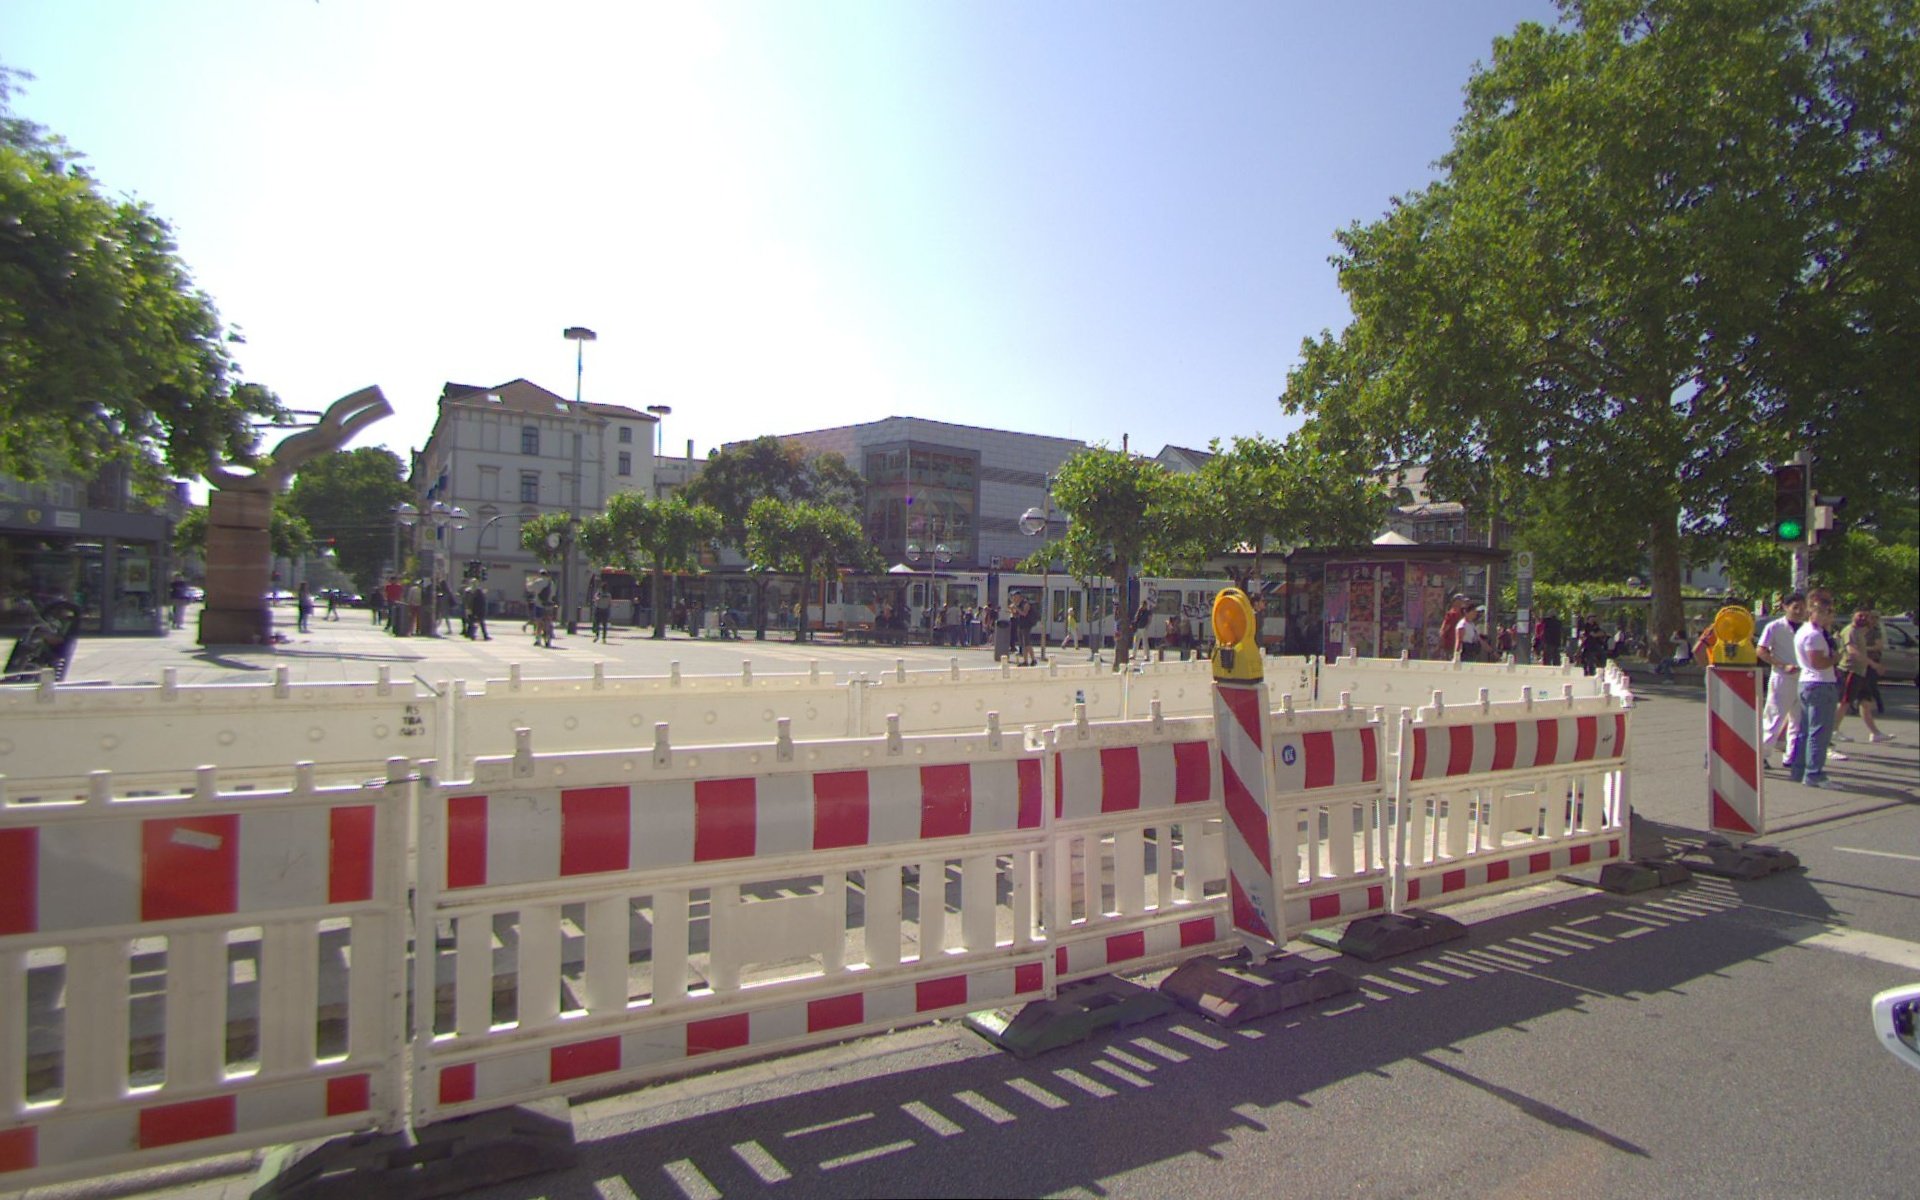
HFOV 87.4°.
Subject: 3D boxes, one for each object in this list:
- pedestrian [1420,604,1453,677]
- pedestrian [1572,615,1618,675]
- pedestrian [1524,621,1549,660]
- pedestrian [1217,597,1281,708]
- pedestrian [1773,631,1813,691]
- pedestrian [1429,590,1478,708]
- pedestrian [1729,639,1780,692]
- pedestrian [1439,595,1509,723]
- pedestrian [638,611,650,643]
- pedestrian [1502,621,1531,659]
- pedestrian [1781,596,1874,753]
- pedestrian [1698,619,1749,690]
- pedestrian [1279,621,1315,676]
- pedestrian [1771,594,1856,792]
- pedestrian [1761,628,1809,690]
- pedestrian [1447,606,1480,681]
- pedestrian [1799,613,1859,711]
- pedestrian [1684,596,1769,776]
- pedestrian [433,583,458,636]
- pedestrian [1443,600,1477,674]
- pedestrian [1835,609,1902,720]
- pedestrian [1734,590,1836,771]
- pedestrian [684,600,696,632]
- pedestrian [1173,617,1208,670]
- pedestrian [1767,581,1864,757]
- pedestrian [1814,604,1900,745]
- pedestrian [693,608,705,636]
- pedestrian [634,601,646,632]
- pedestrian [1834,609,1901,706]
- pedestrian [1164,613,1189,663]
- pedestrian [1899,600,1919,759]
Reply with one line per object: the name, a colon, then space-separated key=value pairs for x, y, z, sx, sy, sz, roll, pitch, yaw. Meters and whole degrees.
pedestrian: x=12.443 y=1.059 z=26.249 sx=0.555 sy=1.883 sz=0.509 roll=2 pitch=0 yaw=-9
pedestrian: x=16.224 y=1.144 z=25.683 sx=0.717 sy=1.498 sz=0.634 roll=2 pitch=0 yaw=-9
pedestrian: x=23.289 y=1.635 z=40.554 sx=0.739 sy=1.534 sz=0.600 roll=1 pitch=0 yaw=-37
pedestrian: x=4.159 y=0.747 z=14.463 sx=0.598 sy=1.553 sz=0.574 roll=2 pitch=1 yaw=-24
pedestrian: x=20.235 y=1.472 z=24.414 sx=0.649 sy=1.404 sz=0.663 roll=2 pitch=0 yaw=32
pedestrian: x=8.233 y=0.800 z=16.764 sx=0.651 sy=1.904 sz=0.631 roll=3 pitch=1 yaw=27
pedestrian: x=18.058 y=1.474 z=22.837 sx=0.653 sy=1.159 sz=0.634 roll=2 pitch=0 yaw=-9
pedestrian: x=7.309 y=0.823 z=14.293 sx=0.598 sy=1.762 sz=0.574 roll=2 pitch=1 yaw=-24
pedestrian: x=-16.997 y=1.462 z=54.058 sx=0.435 sy=1.695 sz=0.450 roll=1 pitch=0 yaw=5
pedestrian: x=23.164 y=1.652 z=41.849 sx=0.724 sy=1.534 sz=0.744 roll=1 pitch=0 yaw=-16
pedestrian: x=10.213 y=0.861 z=11.829 sx=0.645 sy=1.770 sz=0.573 roll=2 pitch=1 yaw=-28
pedestrian: x=17.343 y=1.230 z=22.822 sx=0.653 sy=1.586 sz=0.634 roll=2 pitch=0 yaw=-9
pedestrian: x=8.053 y=1.147 z=23.993 sx=0.599 sy=1.279 sz=0.612 roll=1 pitch=0 yaw=-4
pedestrian: x=7.976 y=0.842 z=9.402 sx=0.422 sy=1.763 sz=0.605 roll=3 pitch=1 yaw=29
pedestrian: x=19.656 y=1.394 z=23.924 sx=0.659 sy=1.404 sz=0.725 roll=2 pitch=0 yaw=-37
pedestrian: x=13.007 y=1.117 z=25.954 sx=0.537 sy=1.883 sz=0.504 roll=2 pitch=0 yaw=-8
pedestrian: x=15.821 y=1.123 z=18.295 sx=0.598 sy=1.734 sz=0.574 roll=2 pitch=1 yaw=-26
pedestrian: x=7.746 y=0.842 z=10.172 sx=0.531 sy=1.741 sz=0.605 roll=3 pitch=1 yaw=29
pedestrian: x=-16.630 y=0.299 z=32.470 sx=0.600 sy=1.688 sz=0.796 roll=2 pitch=1 yaw=-35
pedestrian: x=12.917 y=0.949 z=25.937 sx=0.555 sy=1.883 sz=0.509 roll=2 pitch=0 yaw=-9
pedestrian: x=15.300 y=1.075 z=16.923 sx=0.598 sy=1.803 sz=0.574 roll=2 pitch=1 yaw=-24
pedestrian: x=8.514 y=0.809 z=10.375 sx=0.598 sy=1.803 sz=0.538 roll=2 pitch=1 yaw=-24
pedestrian: x=-14.428 y=0.875 z=53.666 sx=0.435 sy=1.695 sz=0.450 roll=1 pitch=0 yaw=5
pedestrian: x=5.665 y=1.055 z=24.698 sx=0.602 sy=1.279 sz=0.610 roll=1 pitch=0 yaw=38
pedestrian: x=9.700 y=0.764 z=11.391 sx=0.645 sy=1.916 sz=0.573 roll=2 pitch=1 yaw=-28
pedestrian: x=11.557 y=0.933 z=12.941 sx=0.779 sy=1.745 sz=0.582 roll=1 pitch=0 yaw=-28
pedestrian: x=-13.929 y=1.154 z=53.633 sx=0.435 sy=1.484 sz=0.450 roll=1 pitch=0 yaw=5
pedestrian: x=-17.526 y=0.883 z=54.957 sx=0.435 sy=1.695 sz=0.450 roll=1 pitch=0 yaw=5
pedestrian: x=17.624 y=1.110 z=19.517 sx=0.717 sy=1.834 sz=0.634 roll=2 pitch=0 yaw=-9
pedestrian: x=5.700 y=0.983 z=26.427 sx=0.600 sy=1.279 sz=0.611 roll=1 pitch=0 yaw=16
pedestrian: x=11.125 y=0.904 z=11.339 sx=0.630 sy=1.781 sz=0.574 roll=2 pitch=0 yaw=-28
